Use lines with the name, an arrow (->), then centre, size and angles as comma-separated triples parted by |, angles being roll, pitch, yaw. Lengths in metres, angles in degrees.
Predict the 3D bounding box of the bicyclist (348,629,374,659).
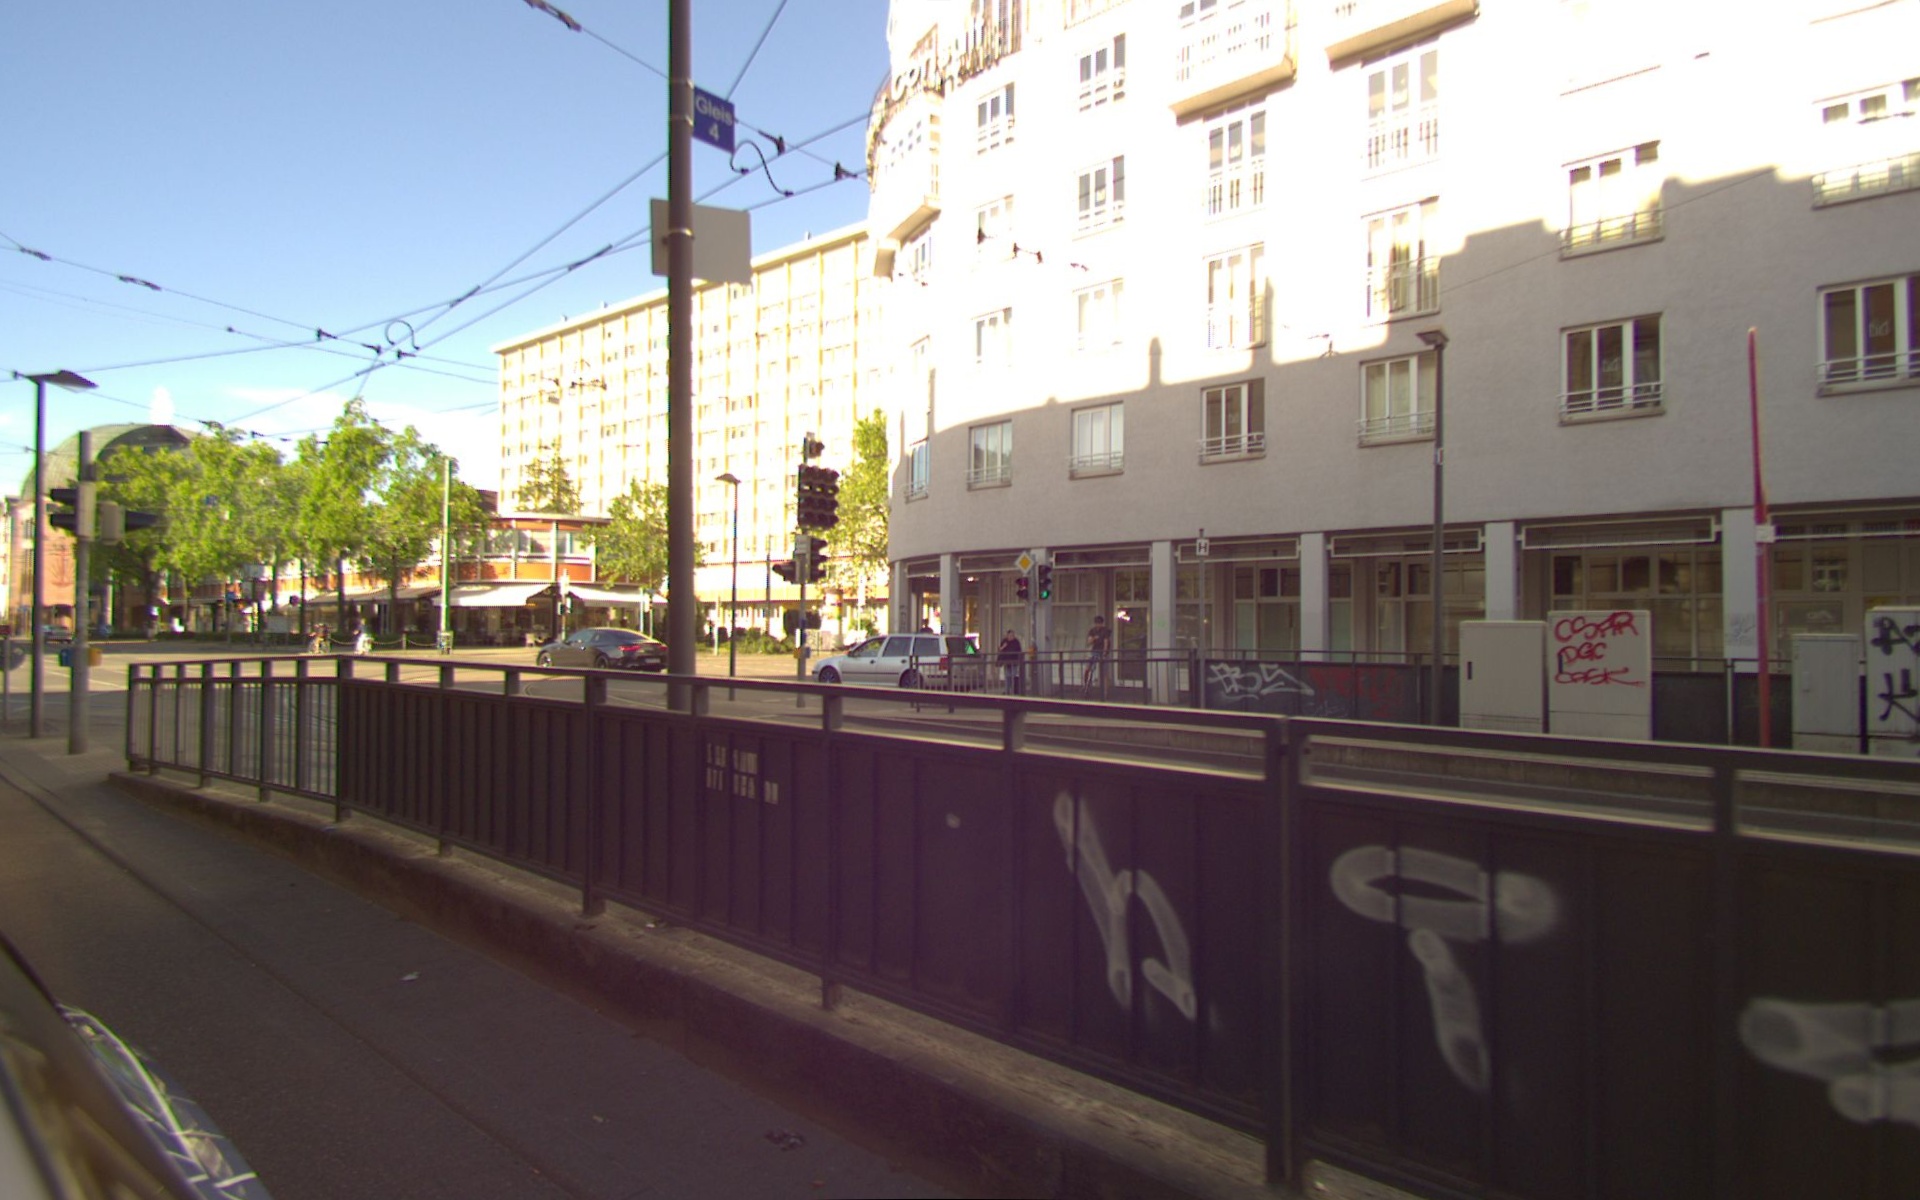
bicyclist -> -27.270, 1.997, 46.040 | 0.988, 1.295, 0.584 | 0, -2, 31

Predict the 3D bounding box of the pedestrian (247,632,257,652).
pedestrian -> -62.588, 3.732, 89.472 | 0.706, 1.764, 0.566 | -2, -3, 42

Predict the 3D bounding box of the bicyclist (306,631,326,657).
bicyclist -> -32.576, 2.226, 51.154 | 0.926, 1.295, 0.582 | 0, -2, 41

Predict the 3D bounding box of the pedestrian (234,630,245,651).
pedestrian -> -63.208, 3.556, 88.752 | 0.706, 1.785, 0.566 | -2, -3, 42

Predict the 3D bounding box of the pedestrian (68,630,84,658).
pedestrian -> -49.951, 2.495, 57.197 | 0.858, 1.529, 0.494 | -2, -5, 41

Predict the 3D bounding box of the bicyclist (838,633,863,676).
bicyclist -> -4.207, 2.079, 38.873 | 0.587, 1.597, 0.889 | 0, -2, 24

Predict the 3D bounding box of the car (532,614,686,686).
car -> -10.281, 1.407, 29.508 | 4.605, 1.925, 2.204 | -1, -3, 40

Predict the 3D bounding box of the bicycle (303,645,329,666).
bicycle -> -32.592, 2.798, 51.222 | 1.817, 0.980, 0.587 | 0, -2, 42

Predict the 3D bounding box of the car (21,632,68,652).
car -> -70.039, 3.209, 77.363 | 4.645, 1.462, 1.974 | -2, -3, 39

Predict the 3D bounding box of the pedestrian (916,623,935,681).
pedestrian -> -1.120, 1.665, 32.533 | 0.456, 1.847, 0.744 | -1, -3, 8

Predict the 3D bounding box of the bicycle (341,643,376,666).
bicycle -> -27.409, 2.461, 46.108 | 1.848, 0.980, 0.589 | 0, -2, 32

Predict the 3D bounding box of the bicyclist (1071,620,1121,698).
bicyclist -> 3.057, 1.305, 22.800 | 0.711, 1.708, 1.032 | 1, -2, -21

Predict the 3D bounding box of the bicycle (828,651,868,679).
bicycle -> -4.277, 2.478, 38.744 | 0.592, 0.980, 2.031 | 0, -2, 23

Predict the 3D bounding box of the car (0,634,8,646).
car -> -120.115, 5.005, 126.084 | 3.468, 1.465, 1.731 | -2, -2, 40

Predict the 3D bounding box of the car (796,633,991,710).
car -> -1.554, 1.526, 22.651 | 4.401, 1.526, 1.711 | -1, -3, 40

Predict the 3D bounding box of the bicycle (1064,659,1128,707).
bicycle -> 3.044, 1.844, 22.799 | 0.666, 0.987, 1.767 | 1, -2, -22

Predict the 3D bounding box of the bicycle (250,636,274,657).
bicycle -> -39.931, 2.665, 57.877 | 2.233, 1.195, 0.492 | -2, -3, 40

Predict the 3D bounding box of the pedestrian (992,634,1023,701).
pedestrian -> 1.120, 1.583, 23.815 | 0.675, 1.546, 0.442 | -1, -3, 4
